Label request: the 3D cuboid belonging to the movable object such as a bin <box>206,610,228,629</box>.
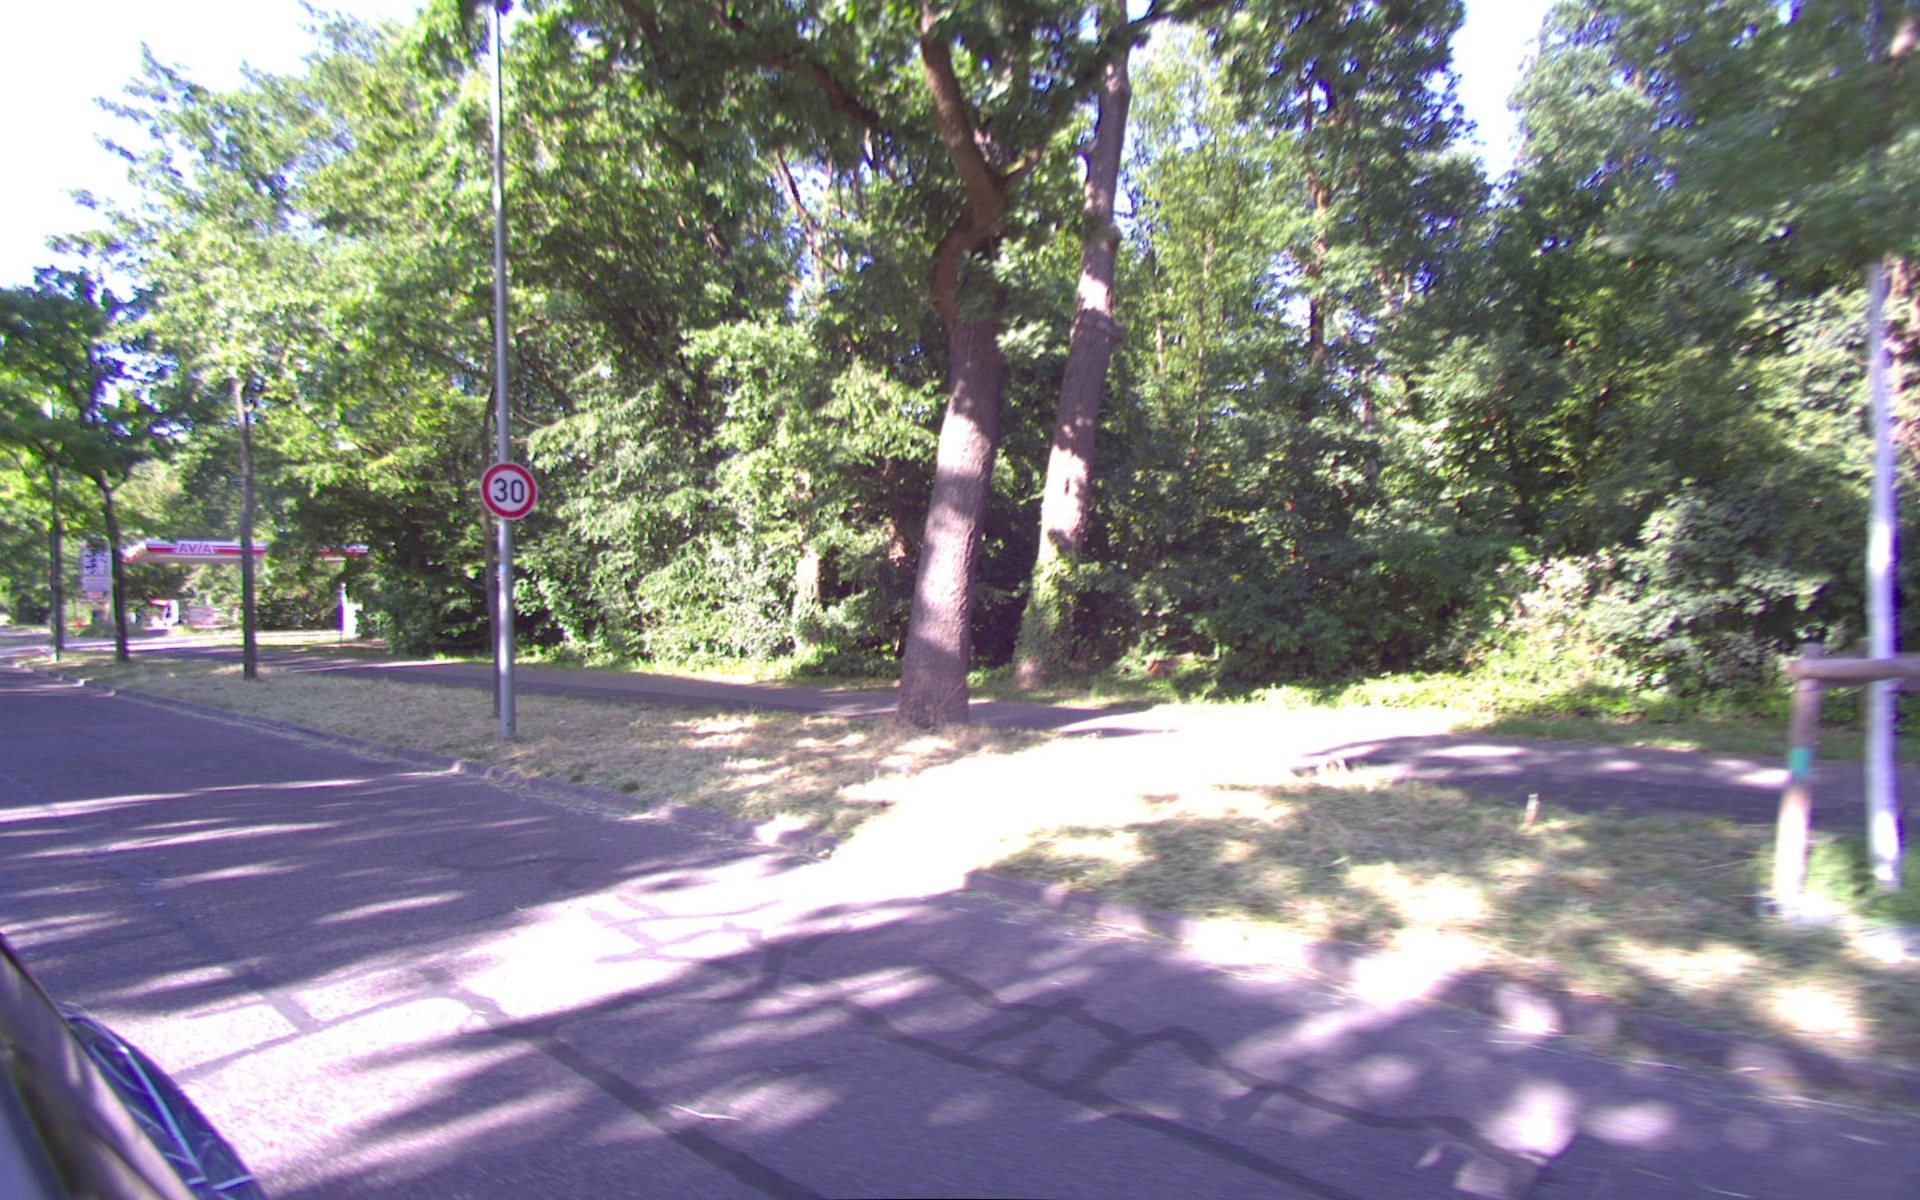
[{"bbox_3d":[-61.922,1.600,84.346,1.267,1.553,1.290,-1,0,42],"label":"movable object such as a bin"}]
